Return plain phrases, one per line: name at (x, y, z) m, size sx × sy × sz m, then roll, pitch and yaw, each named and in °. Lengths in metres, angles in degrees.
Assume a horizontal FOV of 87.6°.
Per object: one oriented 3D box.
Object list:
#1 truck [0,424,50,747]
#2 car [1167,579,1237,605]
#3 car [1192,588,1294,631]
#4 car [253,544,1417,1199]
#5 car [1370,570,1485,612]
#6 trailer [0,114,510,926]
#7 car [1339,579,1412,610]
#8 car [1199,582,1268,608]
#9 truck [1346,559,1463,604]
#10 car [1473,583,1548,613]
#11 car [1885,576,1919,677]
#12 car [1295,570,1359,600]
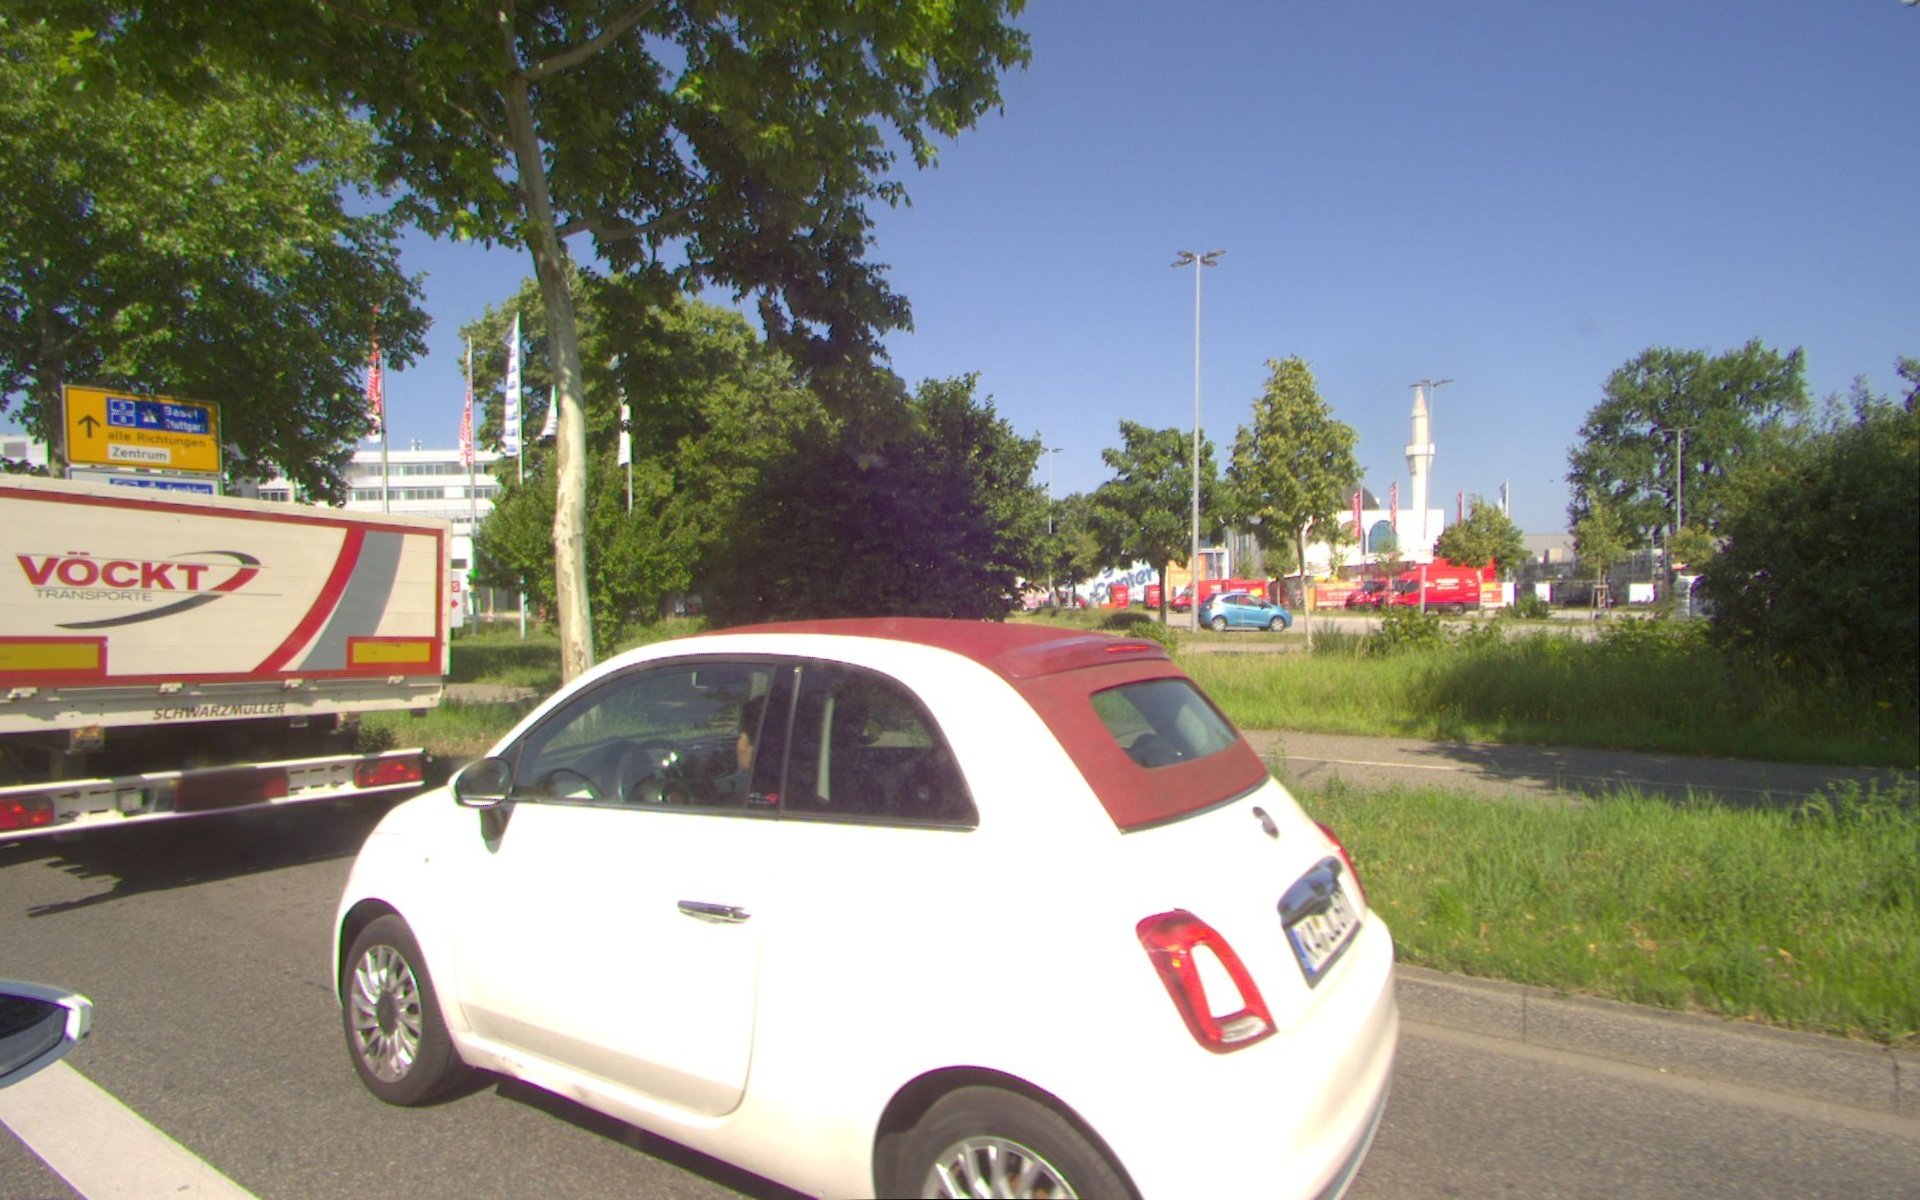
truck at (-14.974, -0.116, 12.844) m, size 7.370 × 3.806 × 3.066 m, roll -1°, pitch -1°, yaw 32°
car at (19.793, -0.670, 82.020) m, size 5.188 × 2.039 × 2.000 m, roll 0°, pitch -1°, yaw -4°
car at (10.842, 0.388, 38.546) m, size 3.387 × 1.591 × 1.745 m, roll 0°, pitch -1°, yaw -2°
car at (-0.576, 0.695, 3.190) m, size 3.472 × 1.455 × 1.657 m, roll -1°, pitch -1°, yaw 35°
car at (27.907, -0.509, 59.898) m, size 5.823 × 2.371 × 2.115 m, roll -1°, pitch -1°, yaw 2°
trailer at (-8.923, -0.231, 8.924) m, size 12.070 × 3.789 × 3.009 m, roll -1°, pitch -1°, yaw 34°
car at (26.371, -0.347, 63.731) m, size 3.924 × 1.884 × 1.999 m, roll -1°, pitch -1°, yaw 11°
car at (20.827, -0.351, 76.351) m, size 4.824 × 1.906 × 1.770 m, roll -1°, pitch -1°, yaw 2°
truck at (33.700, -1.358, 76.047) m, size 8.067 × 3.290 × 2.000 m, roll 0°, pitch -1°, yaw -2°
car at (39.465, -0.135, 71.874) m, size 4.304 × 2.039 × 2.000 m, roll 0°, pitch -1°, yaw -2°
car at (17.694, 0.440, 16.966) m, size 2.085 × 1.781 × 4.745 m, roll -1°, pitch -2°, yaw 32°
car at (26.808, -1.089, 73.288) m, size 3.922 × 2.039 × 2.001 m, roll -1°, pitch -1°, yaw 2°
